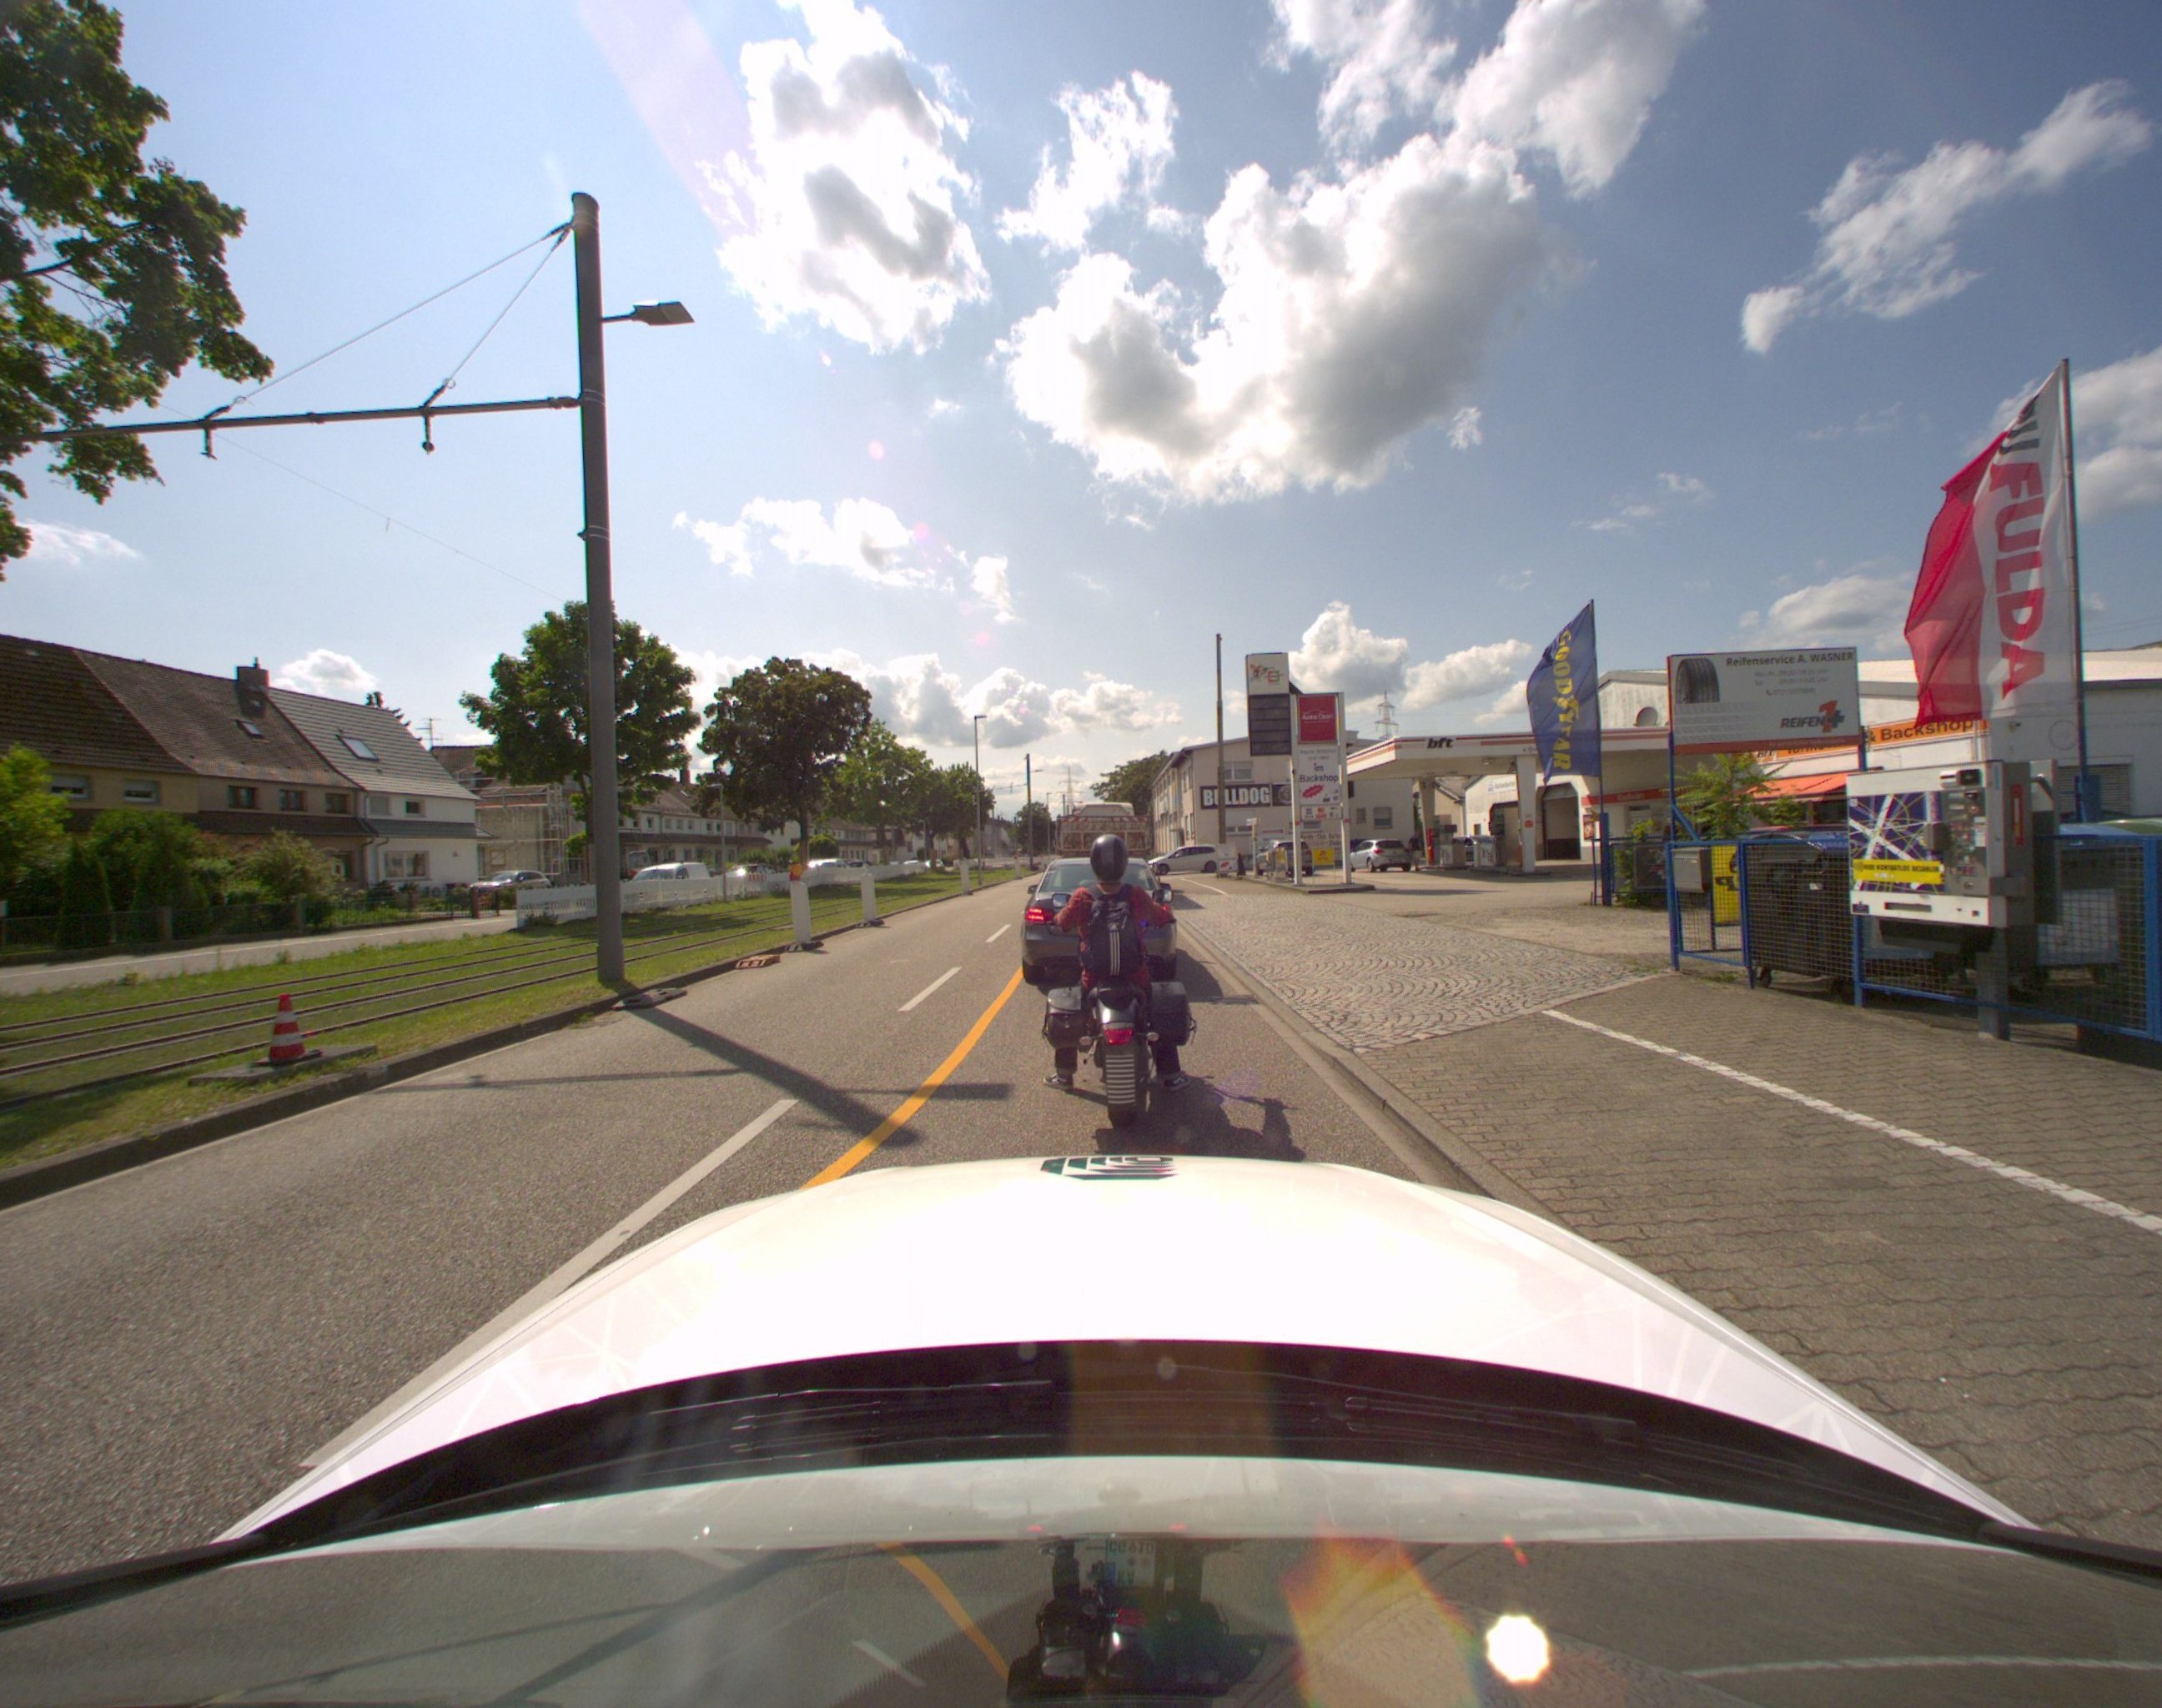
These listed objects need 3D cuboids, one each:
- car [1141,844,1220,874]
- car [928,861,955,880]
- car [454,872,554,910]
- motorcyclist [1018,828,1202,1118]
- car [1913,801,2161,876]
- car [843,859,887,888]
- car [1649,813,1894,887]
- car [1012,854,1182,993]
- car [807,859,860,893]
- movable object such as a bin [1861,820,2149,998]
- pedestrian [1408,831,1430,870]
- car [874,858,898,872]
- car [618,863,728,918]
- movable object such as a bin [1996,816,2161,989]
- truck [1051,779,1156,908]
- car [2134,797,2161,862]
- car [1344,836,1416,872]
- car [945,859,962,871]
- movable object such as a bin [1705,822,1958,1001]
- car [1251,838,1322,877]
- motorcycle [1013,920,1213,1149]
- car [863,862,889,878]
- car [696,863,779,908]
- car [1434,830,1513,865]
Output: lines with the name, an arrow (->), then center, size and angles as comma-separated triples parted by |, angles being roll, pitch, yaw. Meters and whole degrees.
car -> 5.735, 0.287, 47.084 | 4.225, 1.543, 1.669 | -2, 0, -7
car -> -13.729, 1.629, 80.460 | 1.769, 1.722, 4.130 | -2, 0, 2
car -> -27.437, 1.722, 38.900 | 1.769, 1.519, 4.002 | -2, 0, 2
motorcyclist -> 0.181, 0.672, 5.147 | 0.975, 1.602, 1.088 | -2, 0, 1
car -> 21.523, -0.343, 18.172 | 4.180, 1.463, 1.587 | -2, 0, 2
car -> -14.804, 1.332, 56.044 | 1.769, 1.805, 4.130 | -2, 0, 2
car -> 15.775, -0.091, 18.764 | 4.180, 1.463, 1.587 | -2, 0, 2
car -> 0.236, 0.742, 10.707 | 1.816, 1.452, 4.002 | 0, 0, 2
car -> -15.064, 1.325, 49.867 | 1.769, 1.867, 4.130 | -2, 0, 2
movable object such as a bin -> 8.085, 0.441, 7.225 | 1.104, 1.396, 1.244 | -2, 0, 1
pedestrian -> 14.653, -0.134, 35.324 | 0.701, 1.656, 0.551 | -2, 0, 37
car -> -25.161, 1.400, 105.209 | 1.769, 1.722, 4.130 | -2, 0, 2
car -> -15.464, 1.313, 31.162 | 1.769, 1.821, 4.366 | -2, 0, 2
movable object such as a bin -> 9.487, 0.371, 7.137 | 1.397, 1.396, 1.338 | -2, 0, 1
truck -> 0.728, -0.291, 25.506 | 2.628, 3.296, 8.059 | -2, 0, 2
car -> 26.489, -0.637, 18.010 | 4.180, 1.463, 1.587 | -2, 0, 2
car -> 13.477, -0.011, 36.926 | 1.800, 1.503, 3.832 | -2, 0, -1
car -> -19.635, 1.633, 125.923 | 1.769, 1.722, 4.130 | -2, 0, 2
movable object such as a bin -> 6.690, 0.475, 7.365 | 1.104, 1.436, 1.244 | -2, 0, 1
car -> 9.117, 0.148, 36.459 | 1.665, 1.562, 4.235 | -2, 0, -6
motorcycle -> 0.206, 1.021, 5.451 | 0.975, 0.897, 2.654 | -2, 0, 2
car -> -24.389, 1.837, 97.048 | 1.769, 1.722, 4.130 | -2, 0, 2
car -> -15.409, 1.385, 36.766 | 1.769, 1.774, 4.230 | -2, 0, 2
car -> 18.359, -0.289, 38.296 | 1.800, 1.503, 3.833 | -2, 0, 0
